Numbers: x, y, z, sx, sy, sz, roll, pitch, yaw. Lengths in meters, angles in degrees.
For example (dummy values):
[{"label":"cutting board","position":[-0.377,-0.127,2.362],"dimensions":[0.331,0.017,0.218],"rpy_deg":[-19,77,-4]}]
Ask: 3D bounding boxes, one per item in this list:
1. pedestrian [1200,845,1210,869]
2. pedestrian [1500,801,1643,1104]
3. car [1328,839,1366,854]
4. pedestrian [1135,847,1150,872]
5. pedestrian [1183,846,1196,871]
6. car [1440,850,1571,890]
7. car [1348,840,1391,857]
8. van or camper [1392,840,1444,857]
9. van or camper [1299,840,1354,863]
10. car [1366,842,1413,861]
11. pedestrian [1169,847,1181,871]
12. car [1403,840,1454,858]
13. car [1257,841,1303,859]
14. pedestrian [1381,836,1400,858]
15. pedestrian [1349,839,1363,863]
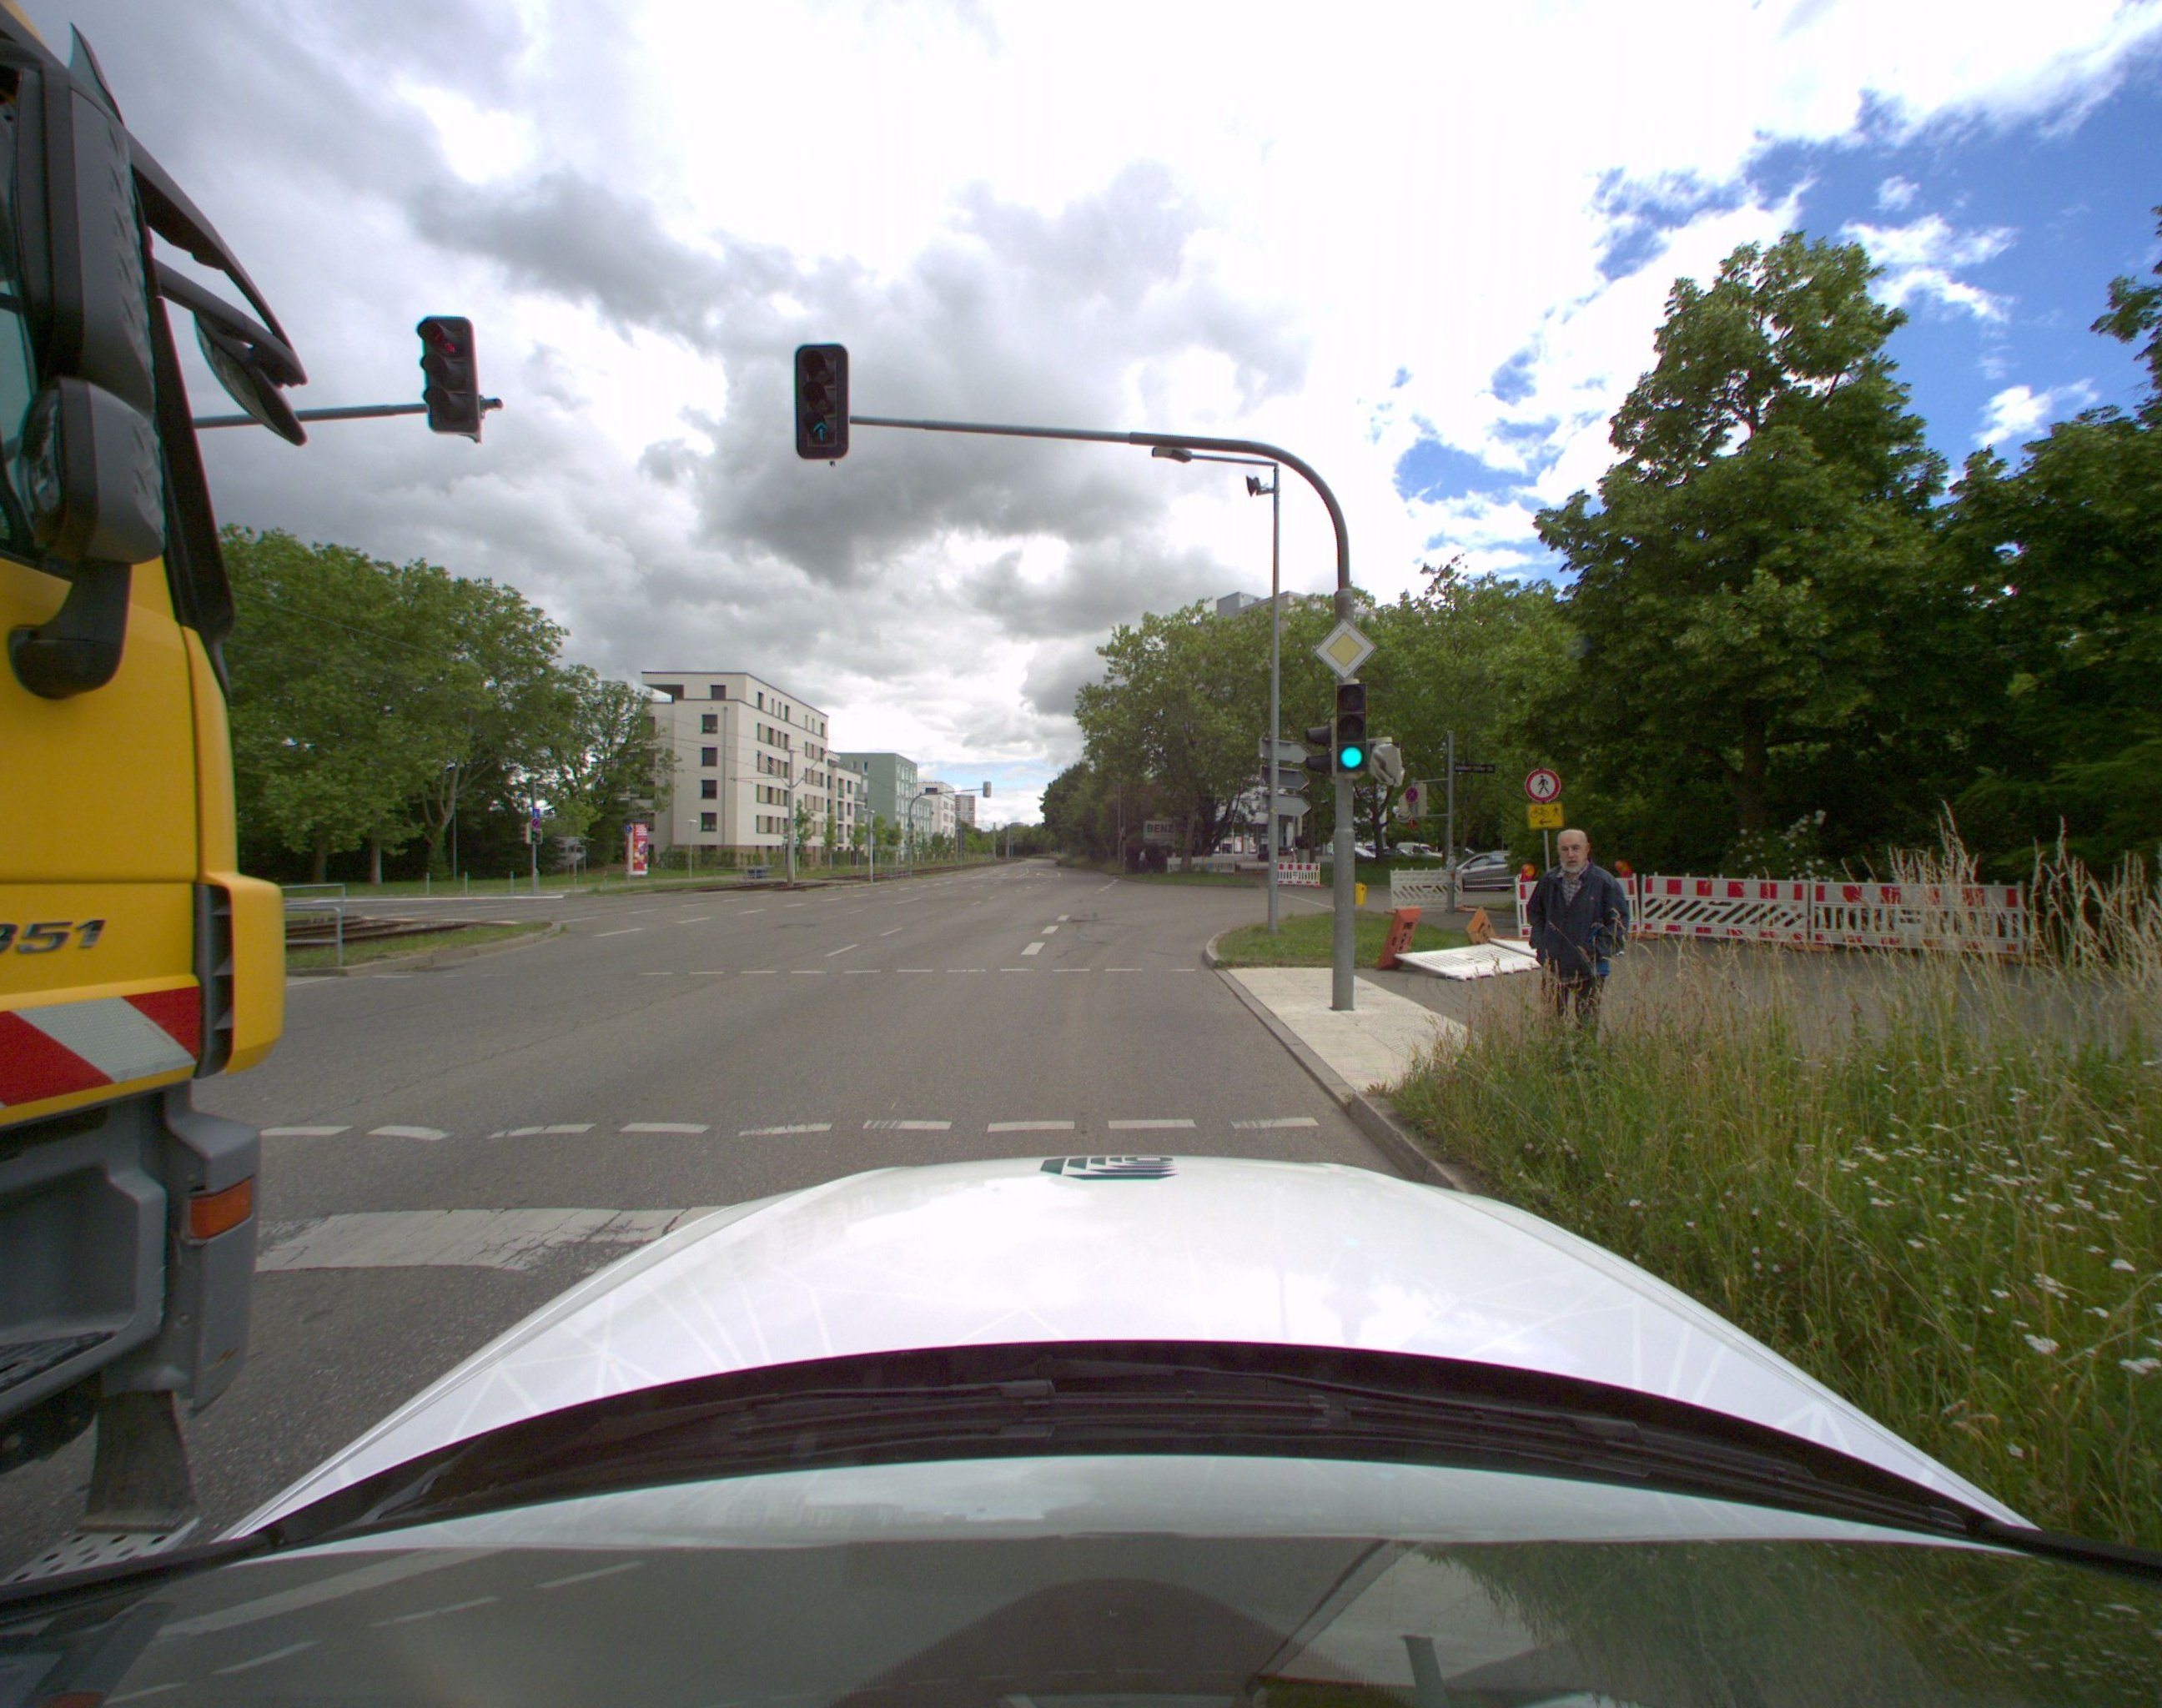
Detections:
[{"label":"pedestrian","position":[7.916,0.183,51.995],"dimensions":[0.649,1.539,0.775],"rpy_deg":[0,-1,9]},{"label":"pedestrian","position":[3.158,0.561,5.272],"dimensions":[0.719,1.740,0.962],"rpy_deg":[0,0,31]},{"label":"car","position":[25.343,-0.681,77.611],"dimensions":[1.489,1.404,3.377],"rpy_deg":[0,-1,-29]},{"label":"pedestrian","position":[3.898,0.363,51.575],"dimensions":[0.846,1.586,0.795],"rpy_deg":[0,-1,-4]},{"label":"pedestrian","position":[6.678,0.278,49.943],"dimensions":[0.692,1.489,0.723],"rpy_deg":[0,-1,14]},{"label":"car","position":[17.167,0.636,33.074],"dimensions":[4.379,1.586,1.774],"rpy_deg":[0,-1,2]},{"label":"car","position":[28.054,-0.545,79.202],"dimensions":[1.677,1.634,3.787],"rpy_deg":[0,1,-28]},{"label":"van or camper","position":[27.330,-0.441,66.068],"dimensions":[1.523,1.356,3.738],"rpy_deg":[0,-1,-31]},{"label":"van or camper","position":[18.494,-0.199,61.536],"dimensions":[1.849,1.684,3.967],"rpy_deg":[-1,0,-25]},{"label":"car","position":[24.337,-0.174,64.328],"dimensions":[1.488,1.404,3.378],"rpy_deg":[0,-1,-27]},{"label":"pedestrian","position":[5.756,0.294,50.062],"dimensions":[0.694,1.489,0.688],"rpy_deg":[0,-1,2]},{"label":"car","position":[29.041,-0.381,68.145],"dimensions":[1.489,1.465,3.856],"rpy_deg":[0,-1,-29]},{"label":"car","position":[17.544,-0.307,72.086],"dimensions":[1.736,1.500,4.234],"rpy_deg":[0,-1,-24]},{"label":"pedestrian","position":[26.703,-0.573,70.321],"dimensions":[1.074,1.871,1.054],"rpy_deg":[0,-1,-16]},{"label":"pedestrian","position":[22.354,-0.237,66.128],"dimensions":[0.802,2.002,0.853],"rpy_deg":[0,-1,-2]}]
